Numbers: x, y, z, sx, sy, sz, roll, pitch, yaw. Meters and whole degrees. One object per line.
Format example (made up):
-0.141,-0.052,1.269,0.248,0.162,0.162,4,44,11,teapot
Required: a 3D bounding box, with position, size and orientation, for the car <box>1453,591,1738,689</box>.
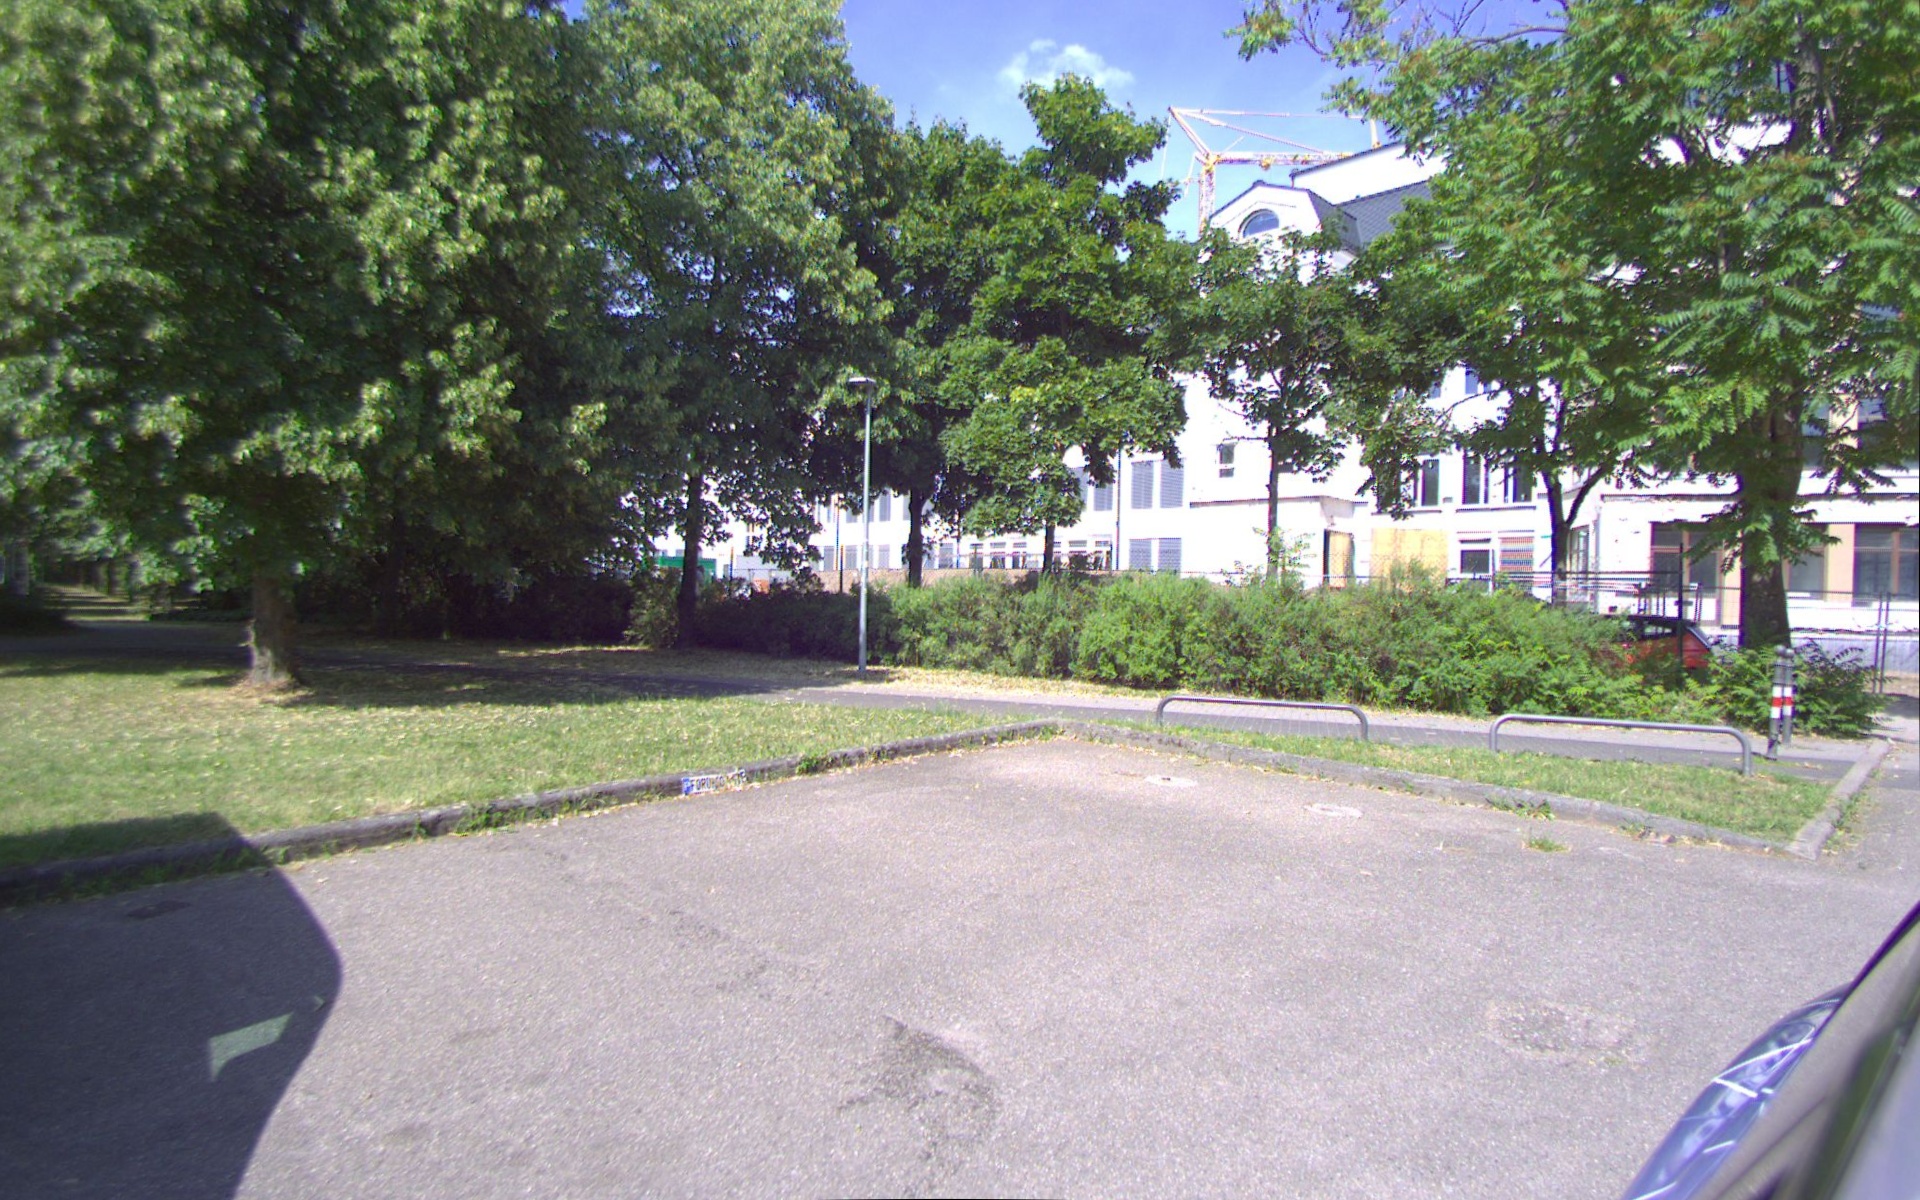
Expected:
11.260,0.649,18.259,4.140,1.430,1.645,3,1,30,car
